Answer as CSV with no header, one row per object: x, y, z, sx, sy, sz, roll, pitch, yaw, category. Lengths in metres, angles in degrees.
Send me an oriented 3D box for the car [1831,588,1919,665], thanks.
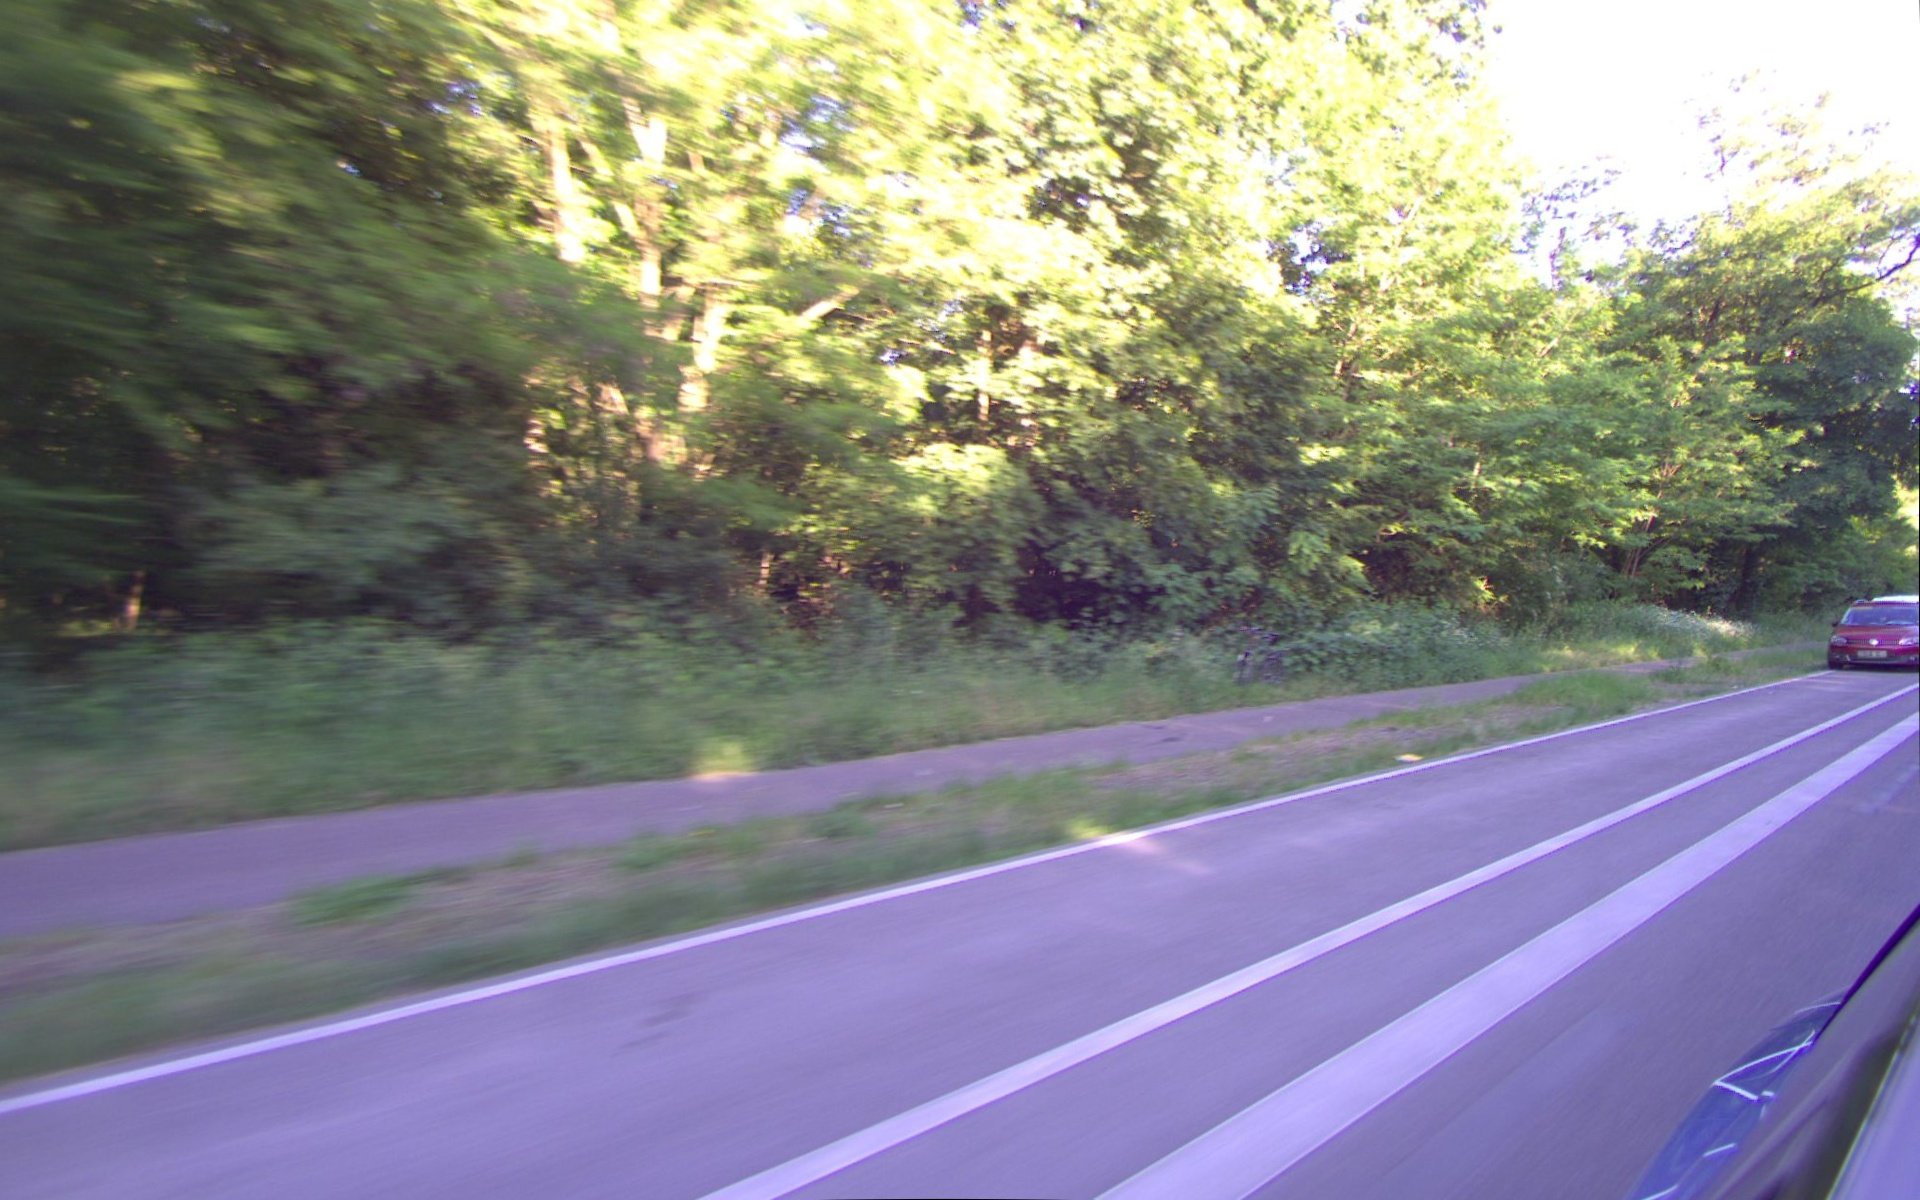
22.331,0.590,24.060,4.262,1.682,1.837,0,-1,-41,car

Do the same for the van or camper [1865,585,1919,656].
26.357,0.522,27.728,4.307,1.838,1.953,0,0,-43,van or camper

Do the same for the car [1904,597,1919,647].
31.066,0.669,31.740,4.076,1.543,1.693,0,-1,-41,car
